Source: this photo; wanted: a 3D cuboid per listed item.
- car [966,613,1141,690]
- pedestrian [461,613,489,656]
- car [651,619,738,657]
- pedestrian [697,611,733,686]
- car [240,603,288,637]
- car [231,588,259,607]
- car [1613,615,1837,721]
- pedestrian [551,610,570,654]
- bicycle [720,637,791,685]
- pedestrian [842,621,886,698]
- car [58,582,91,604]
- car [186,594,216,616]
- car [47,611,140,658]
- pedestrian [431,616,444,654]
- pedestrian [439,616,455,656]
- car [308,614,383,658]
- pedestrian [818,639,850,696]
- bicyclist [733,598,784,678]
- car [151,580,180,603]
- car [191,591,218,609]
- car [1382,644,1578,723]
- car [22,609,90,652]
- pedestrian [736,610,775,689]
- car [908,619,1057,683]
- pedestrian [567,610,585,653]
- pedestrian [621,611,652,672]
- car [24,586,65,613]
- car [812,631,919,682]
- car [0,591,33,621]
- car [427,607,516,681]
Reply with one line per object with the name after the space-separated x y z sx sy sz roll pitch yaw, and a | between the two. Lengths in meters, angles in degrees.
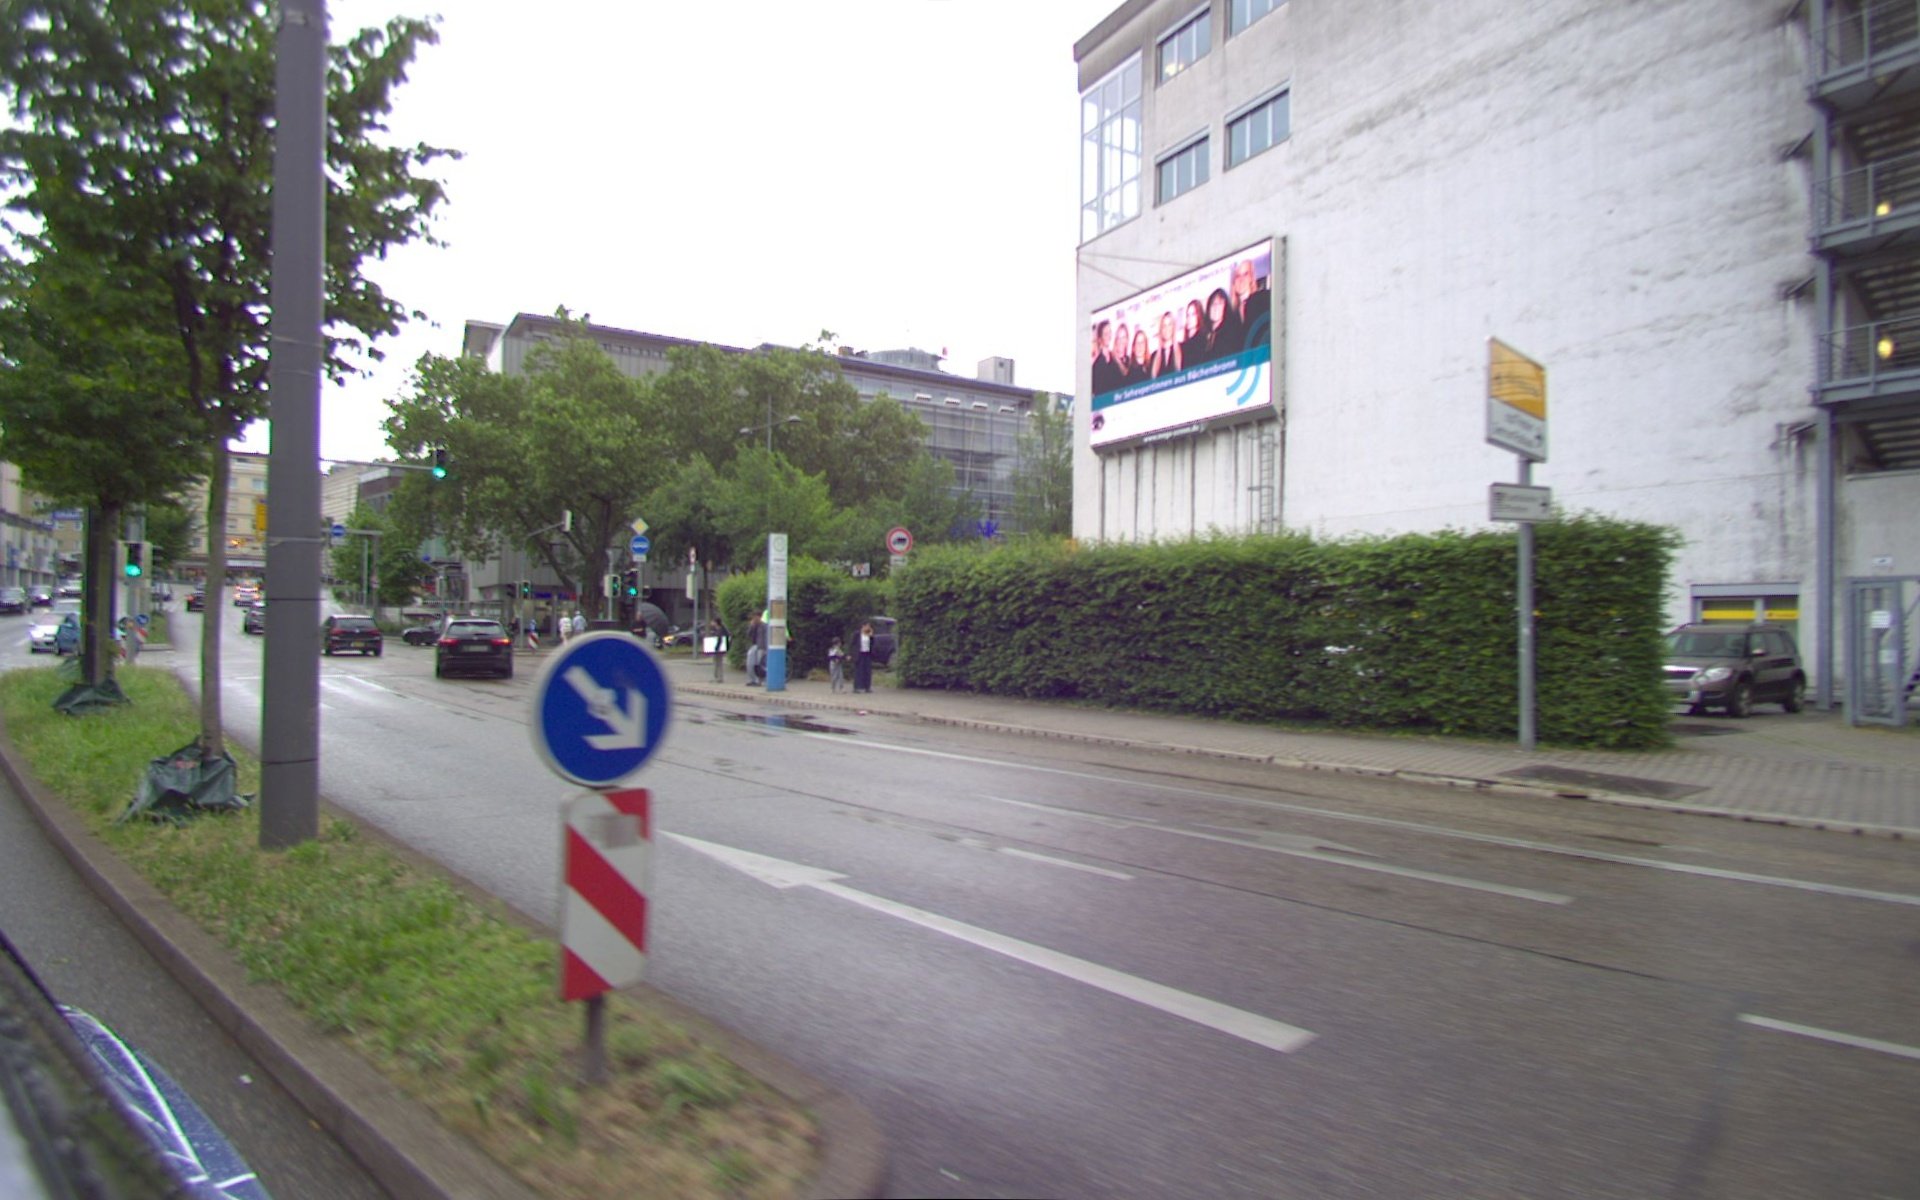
1.951 1.059 21.862 1.576 1.522 3.603 2 -2 -44 | car
-22.177 1.554 46.296 0.823 1.921 0.853 0 -1 28 | pedestrian
-12.326 1.795 47.041 3.544 1.709 1.640 2 -3 -38 | car
-5.933 1.158 24.489 0.528 1.778 0.622 -1 -2 39 | pedestrian
-38.426 1.076 55.848 1.804 1.749 4.319 2 -1 -39 | car
-59.878 -0.190 84.754 1.650 1.527 3.650 3 -2 -38 | car
14.010 1.181 18.519 3.932 1.752 1.960 2 -2 -32 | car
-16.325 1.306 41.376 0.520 1.777 0.593 -2 2 -40 | pedestrian
-5.035 1.474 24.830 2.058 1.119 0.643 -1 -2 44 | bicycle
-2.014 1.231 21.258 0.565 1.571 0.706 -2 -3 43 | pedestrian
-76.956 -0.614 87.992 1.803 1.749 4.010 3 0 -37 | car
-56.067 0.414 74.726 1.602 1.567 3.666 2 -2 -40 | car
-28.758 1.118 33.562 3.686 1.485 1.679 -1 -2 39 | car
-24.792 1.657 48.022 0.406 1.777 0.677 2 -3 -40 | pedestrian
-23.940 1.668 47.204 0.441 1.851 0.677 2 1 -42 | pedestrian
-22.328 1.276 36.731 1.735 1.431 4.105 4 -2 -39 | car
-2.644 1.407 21.245 0.501 1.159 0.463 -2 -3 43 | pedestrian
-4.931 0.911 24.749 0.954 1.904 0.783 -1 -2 42 | bicyclist
-67.528 -0.776 86.053 1.803 1.749 4.010 3 0 -37 | car
-67.995 -0.007 91.057 1.691 1.490 3.965 4 -2 -39 | car
12.211 1.898 23.787 3.992 1.587 1.961 0 0 -23 | car
-32.977 1.067 36.992 1.743 1.420 4.007 0 1 -40 | car
-4.703 1.136 23.317 0.642 1.778 0.585 -1 -2 35 | pedestrian
0.598 1.364 27.739 3.824 1.637 1.582 -1 -3 33 | car
-15.852 1.307 41.790 0.520 1.778 0.593 2 -2 -40 | pedestrian
-9.762 1.242 30.567 0.639 1.777 0.593 2 1 -43 | pedestrian
-67.652 -0.065 74.823 1.803 1.749 4.010 3 0 -37 | car
-3.094 1.777 32.781 1.576 1.550 3.603 2 -2 -43 | car
-61.528 0.372 65.491 1.803 1.749 4.010 3 0 -37 | car
-12.852 1.136 26.520 1.802 1.749 4.272 3 -3 -29 | car
